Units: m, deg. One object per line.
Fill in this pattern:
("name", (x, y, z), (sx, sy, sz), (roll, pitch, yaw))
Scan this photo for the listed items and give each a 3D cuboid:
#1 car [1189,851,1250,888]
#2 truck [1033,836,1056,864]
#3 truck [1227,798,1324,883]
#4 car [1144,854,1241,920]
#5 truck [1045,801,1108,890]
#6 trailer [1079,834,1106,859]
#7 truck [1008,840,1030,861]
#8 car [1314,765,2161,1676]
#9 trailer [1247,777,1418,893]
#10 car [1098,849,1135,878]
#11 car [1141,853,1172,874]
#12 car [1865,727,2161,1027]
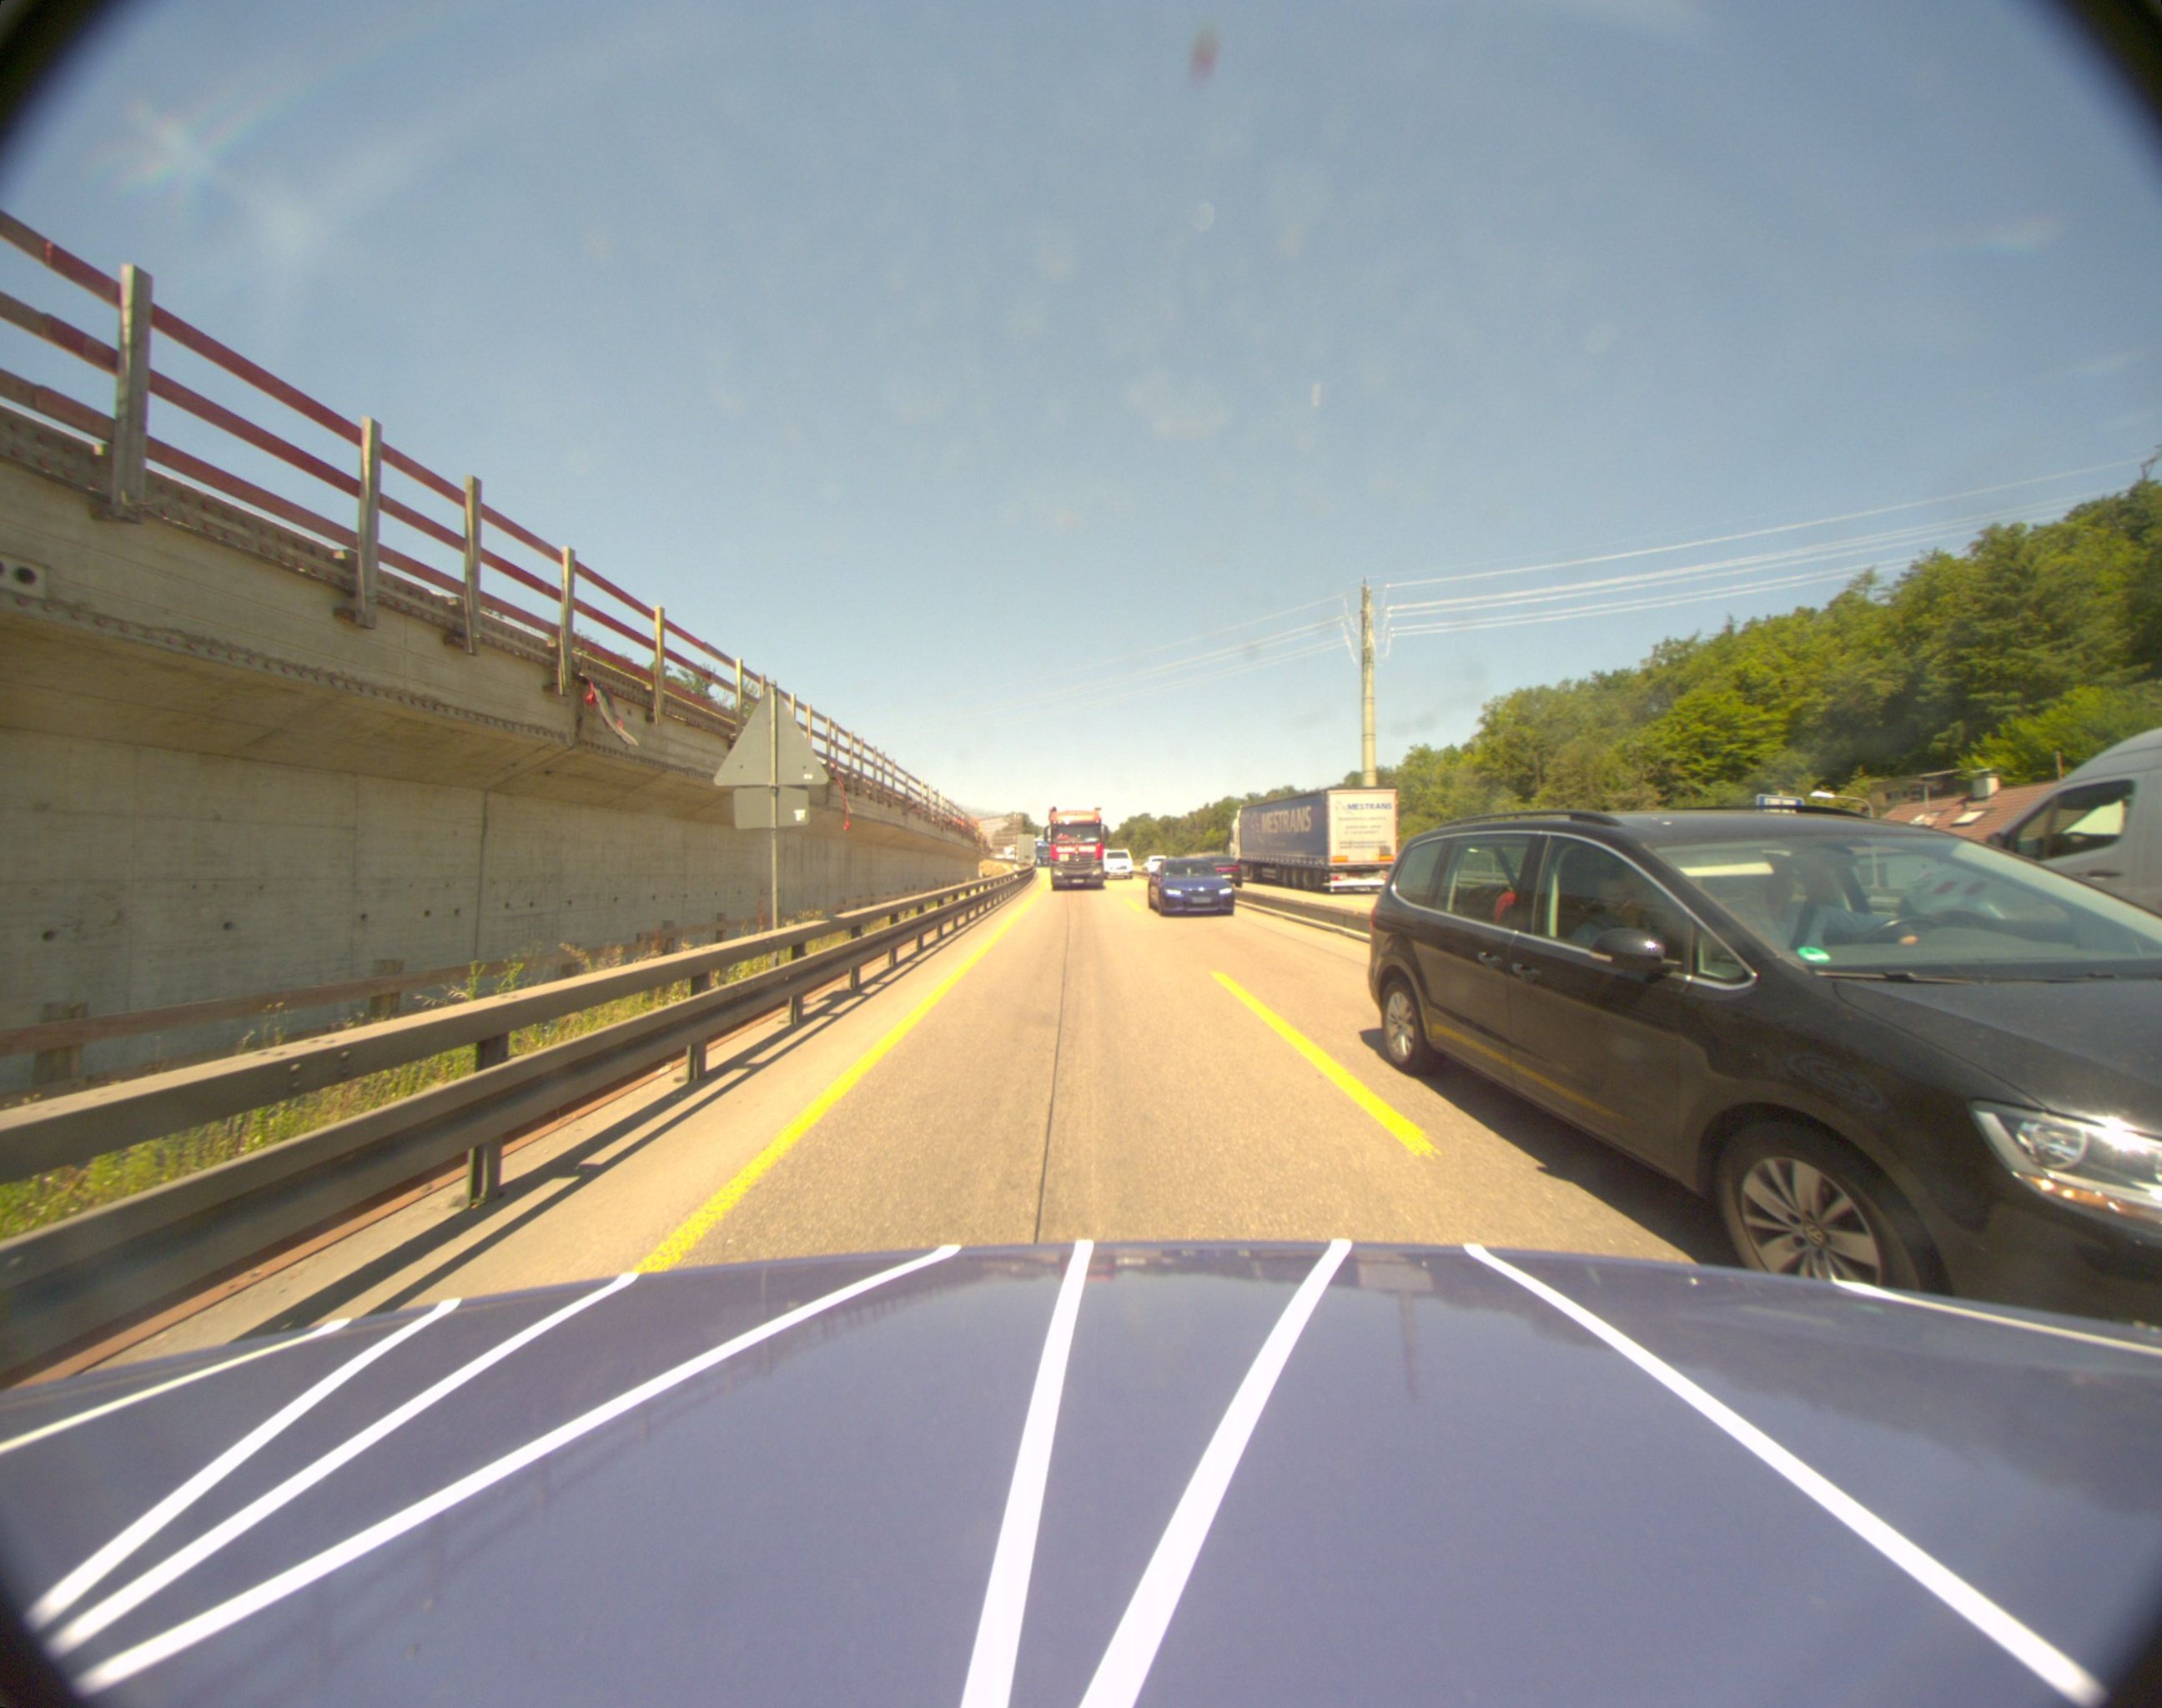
("car", (6.314, 0.677, 35.128), (1.855, 1.537, 4.558), (-1, 0, -1))
("truck", (-5.457, -0.566, 112.714), (2.673, 3.985, 10.423), (-1, 0, -7))
("truck", (10.028, -0.629, 39.979), (3.144, 4.055, 6.878), (-1, 0, -1))
("car", (2.879, 0.805, 20.585), (1.896, 1.546, 4.786), (-1, 0, 0))
("truck", (-0.284, -0.492, 39.659), (2.798, 3.986, 10.426), (-1, 1, -1))
("trailer", (1.993, -1.237, 135.988), (3.014, 4.140, 9.010), (-2, -1, -11))
("truck", (-12.738, -0.790, 155.394), (2.913, 4.208, 9.228), (-1, 1, -14))
("car", (2.928, 0.675, 3.809), (1.861, 1.695, 5.303), (-1, 0, 0))
("trailer", (10.204, -0.652, 32.808), (3.144, 4.055, 11.817), (-1, 0, -1))
("car", (2.320, 0.623, 51.195), (1.947, 1.858, 5.222), (-1, 0, -3))
("car", (5.630, 0.680, 56.955), (1.676, 1.526, 4.189), (-1, 0, -3))
("car", (10.304, 0.180, 6.045), (2.010, 2.588, 5.979), (-1, 0, 1))
